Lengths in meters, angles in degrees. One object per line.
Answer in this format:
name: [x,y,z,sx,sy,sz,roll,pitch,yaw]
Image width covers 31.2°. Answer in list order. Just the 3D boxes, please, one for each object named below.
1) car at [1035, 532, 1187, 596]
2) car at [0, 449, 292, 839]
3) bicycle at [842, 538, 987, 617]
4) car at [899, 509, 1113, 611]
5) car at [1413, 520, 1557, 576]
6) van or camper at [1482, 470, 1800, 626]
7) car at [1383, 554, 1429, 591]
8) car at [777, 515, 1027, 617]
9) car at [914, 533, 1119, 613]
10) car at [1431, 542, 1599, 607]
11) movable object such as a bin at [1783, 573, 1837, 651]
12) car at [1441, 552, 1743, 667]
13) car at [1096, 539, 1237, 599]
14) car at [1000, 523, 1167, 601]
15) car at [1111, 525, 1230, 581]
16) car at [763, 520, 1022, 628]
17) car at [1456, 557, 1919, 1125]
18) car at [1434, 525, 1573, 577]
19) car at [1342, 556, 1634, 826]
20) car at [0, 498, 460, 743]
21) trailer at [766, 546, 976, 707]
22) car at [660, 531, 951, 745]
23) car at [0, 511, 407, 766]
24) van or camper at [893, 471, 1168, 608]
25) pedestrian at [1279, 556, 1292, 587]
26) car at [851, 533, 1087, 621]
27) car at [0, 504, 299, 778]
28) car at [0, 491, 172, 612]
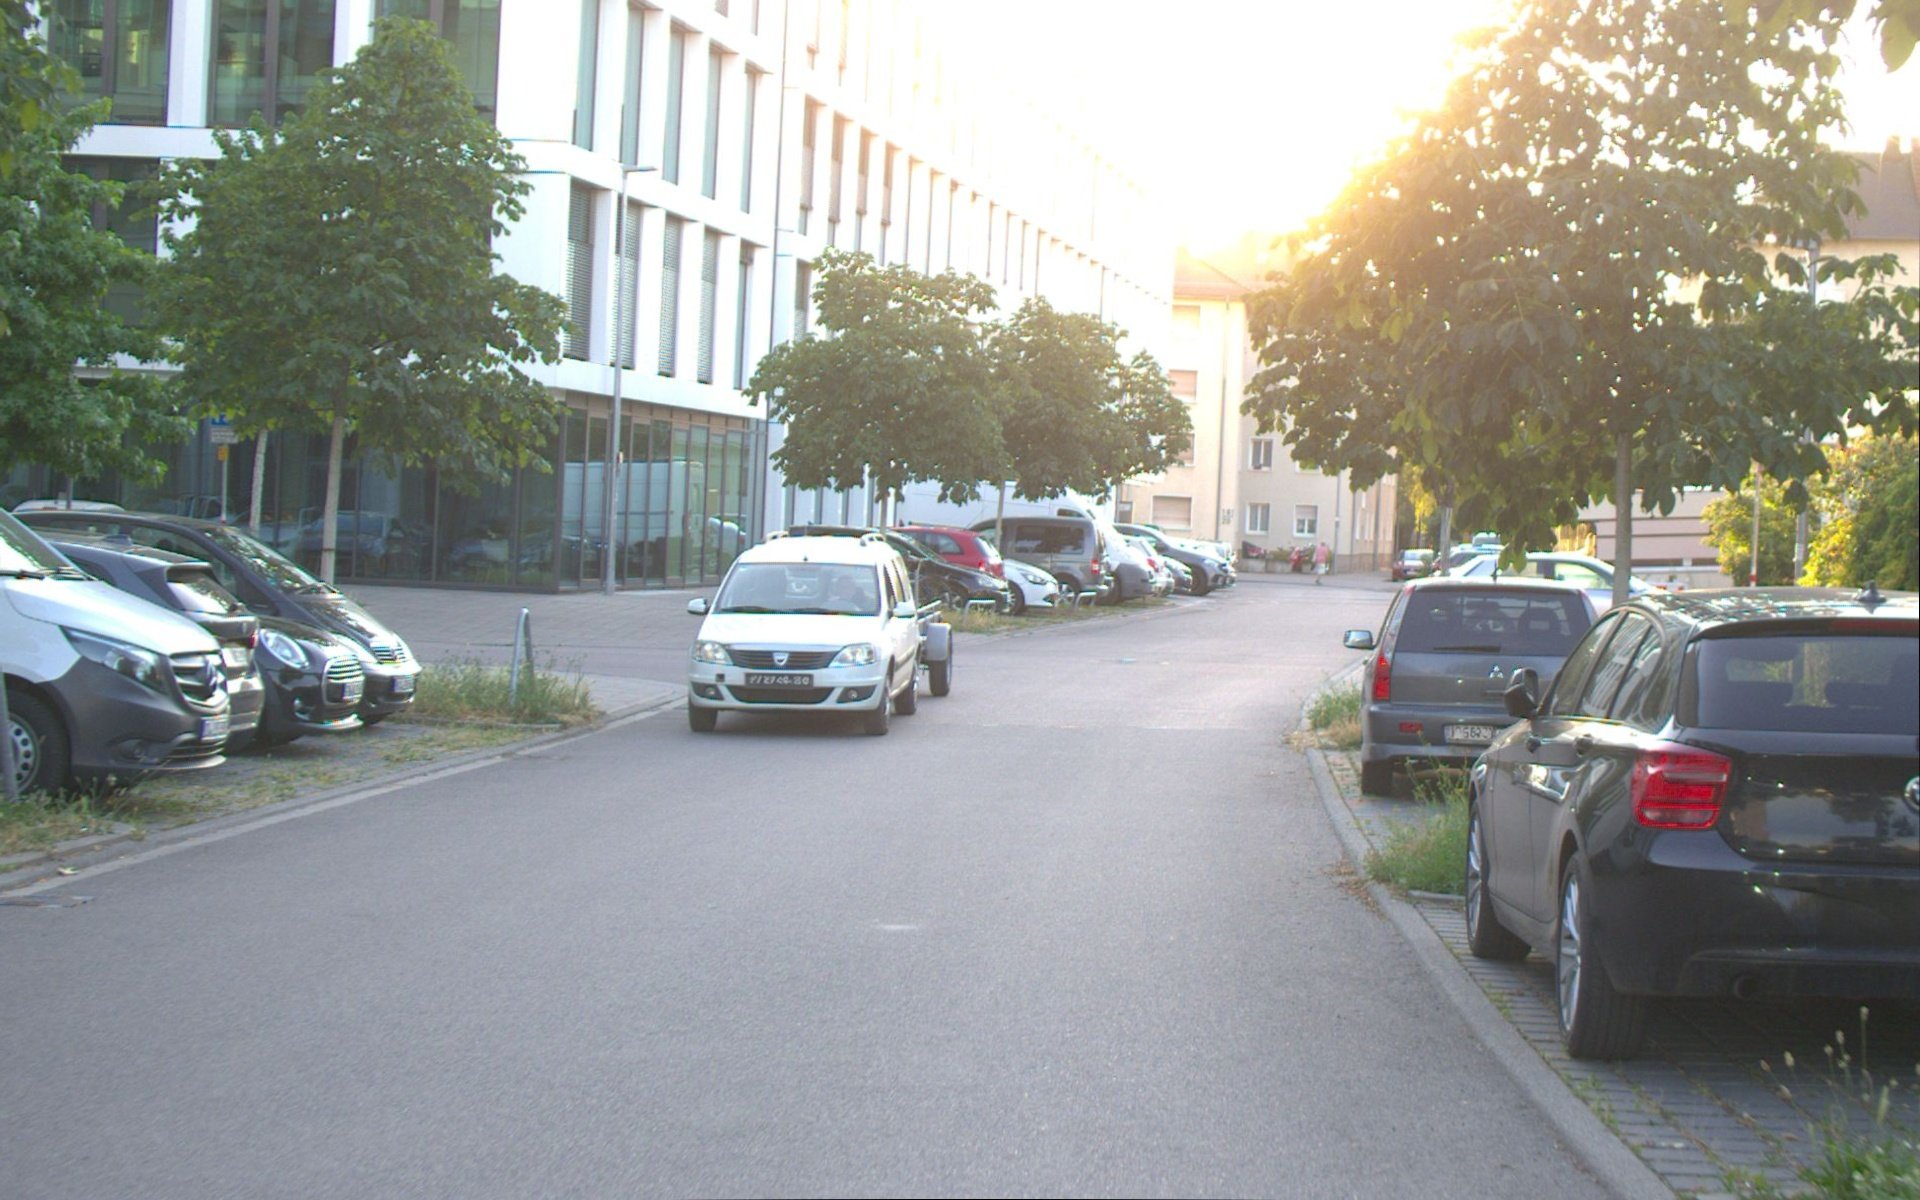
car: [3.725,-0.895,84.562,3.561,1.474,1.457,1,2,10]
car: [-6.475,0.048,18.881,5.076,1.940,1.889,5,1,3]
bicycle: [-0.733,-0.369,55.539,2.179,1.170,0.811,3,1,10]
car: [0.931,-0.801,67.849,4.051,1.901,1.736,1,2,6]
car: [16.564,-1.647,108.595,4.342,1.638,1.816,1,2,5]
van or camper: [12.760,-1.013,64.774,5.611,2.780,2.429,1,2,6]
car: [20.230,-1.256,155.930,1.951,1.579,3.639,3,1,8]
car: [-1.011,-0.608,60.612,4.052,1.474,1.767,4,2,10]
car: [1.180,-0.571,70.549,4.051,1.519,1.736,1,2,6]
car: [13.739,-0.647,85.071,4.051,1.474,1.767,1,2,10]
movable object such as a bin: [11.616,0.160,46.987,0.578,1.007,0.688,2,2,5]
car: [8.945,0.115,48.902,4.050,1.474,1.767,1,2,5]
car: [5.451,-0.831,90.641,3.561,1.474,1.457,1,2,10]
car: [2.786,-0.873,77.504,3.561,1.646,1.457,1,2,10]
car: [5.703,-1.285,93.026,3.016,1.416,1.457,1,2,10]
car: [-1.115,-0.459,57.692,4.051,1.474,1.767,4,3,7]
car: [2.733,0.647,11.519,1.693,1.504,4.192,2,1,3]
car: [16.592,-1.509,105.023,4.050,1.474,1.767,1,2,5]
car: [3.556,0.529,23.569,1.724,1.574,4.597,2,1,7]
car: [-5.950,0.128,26.822,3.636,1.571,1.660,5,1,8]
trailer: [-0.856,0.229,35.020,1.706,1.344,3.487,4,3,4]
car: [-1.272,0.261,30.426,1.953,1.680,4.721,1,1,5]
car: [-6.018,0.201,24.022,3.887,1.483,1.651,5,1,4]
van or camper: [1.512,-1.301,72.733,5.455,2.475,1.775,4,2,10]
pedestrian: [14.436,-1.273,152.477,0.501,1.374,0.454,2,1,7]
car: [0.176,-0.433,62.925,4.051,1.474,1.767,1,2,10]
car: [-6.361,0.137,21.577,3.987,1.517,1.606,5,1,2]
car: [-12.715,-0.726,49.521,1.722,1.480,3.551,2,4,3]
